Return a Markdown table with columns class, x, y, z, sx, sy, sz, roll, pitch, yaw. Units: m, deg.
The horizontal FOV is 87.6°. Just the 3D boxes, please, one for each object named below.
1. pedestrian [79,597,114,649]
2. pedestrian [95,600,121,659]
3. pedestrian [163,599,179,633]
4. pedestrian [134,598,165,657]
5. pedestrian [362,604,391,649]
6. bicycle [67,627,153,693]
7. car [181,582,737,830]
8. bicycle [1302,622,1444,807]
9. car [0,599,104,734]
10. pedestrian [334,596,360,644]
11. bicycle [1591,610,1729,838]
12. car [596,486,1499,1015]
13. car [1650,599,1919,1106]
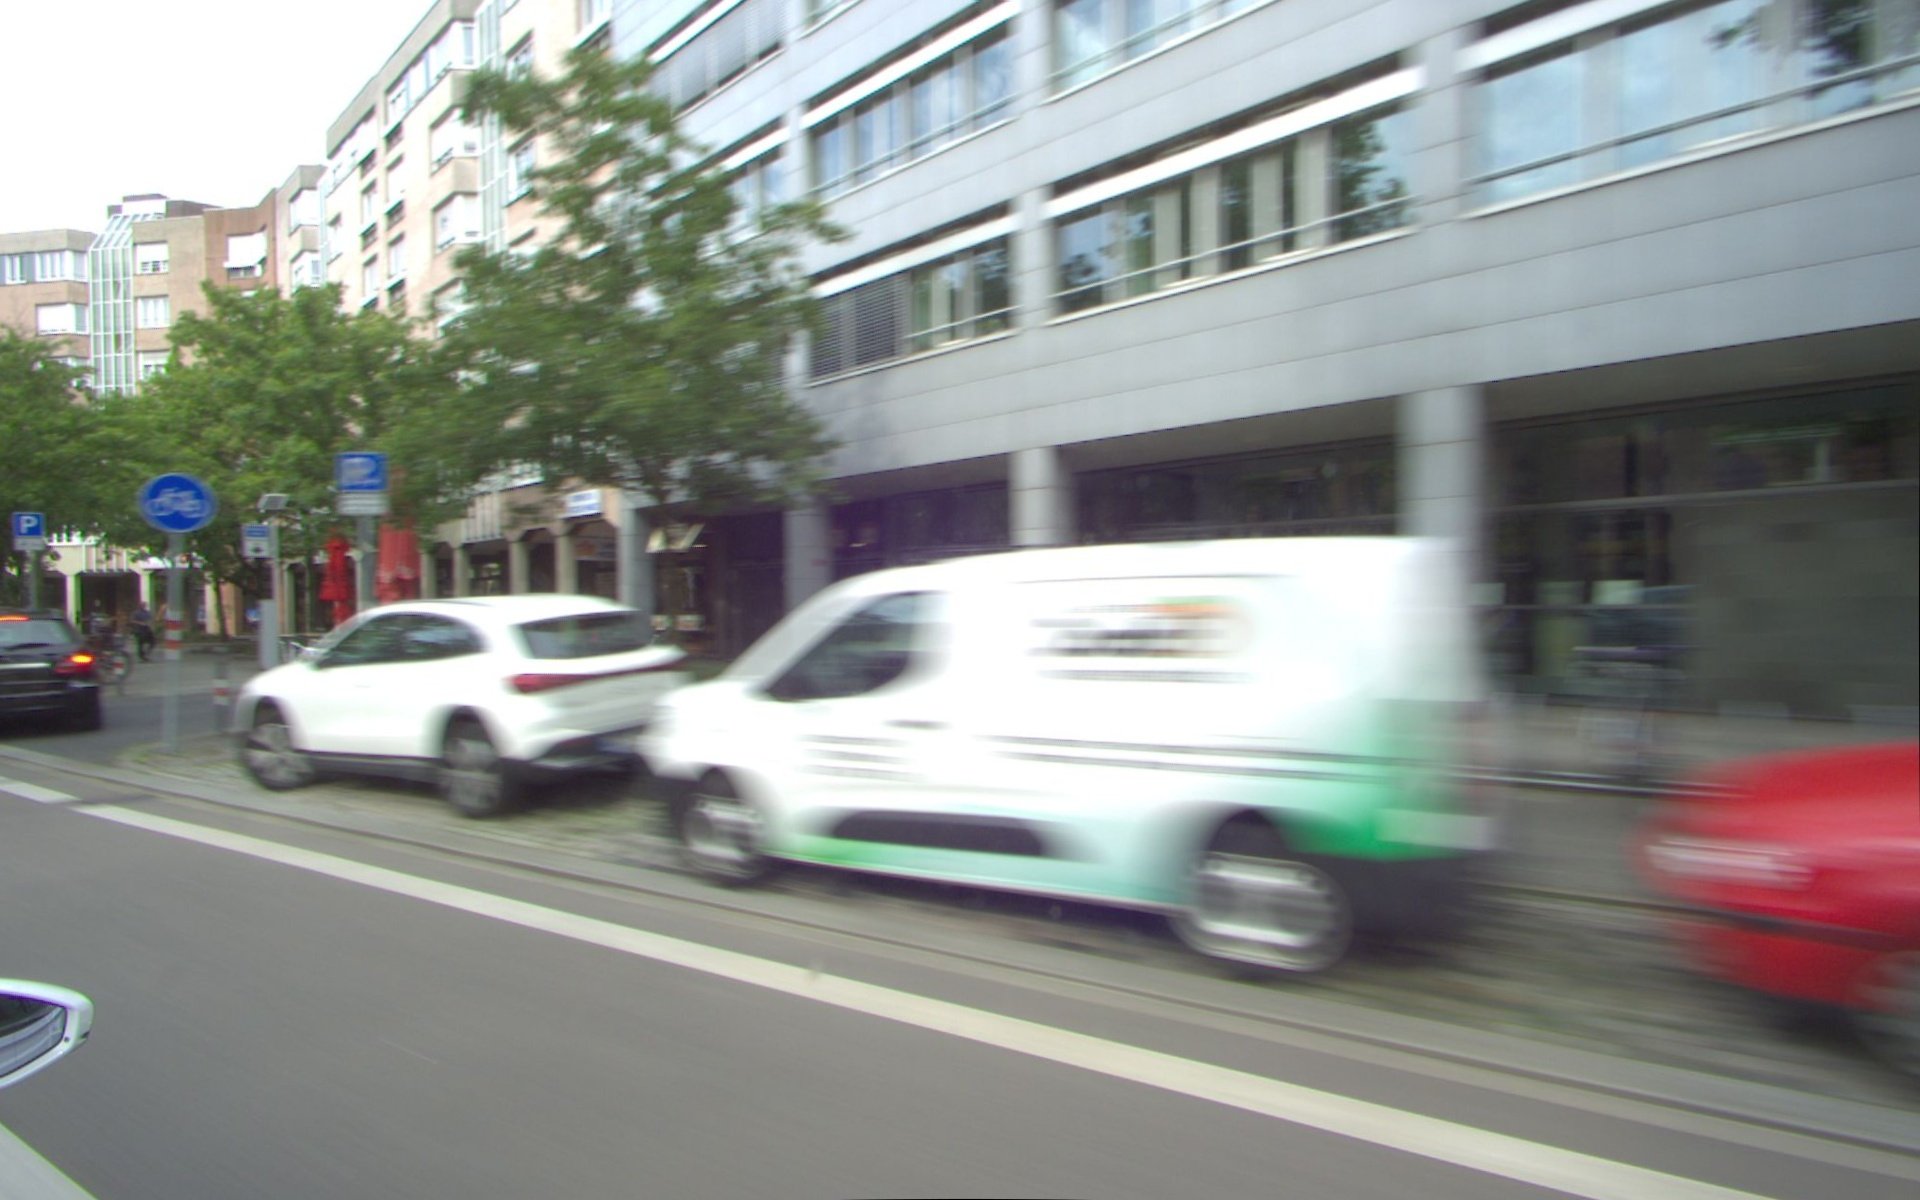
| class | x | y | z | sx | sy | sz | roll | pitch | yaw |
| --- | --- | --- | --- | --- | --- | --- | --- | --- | --- |
| pedestrian | -26.784 | 0.702 | 31.057 | 0.755 | 1.590 | 0.741 | 1 | 1 | 42 |
| pedestrian | -22.032 | 0.760 | 25.902 | 0.497 | 1.499 | 0.409 | 1 | 1 | 39 |
| pedestrian | -39.475 | 0.805 | 50.118 | 0.842 | 1.684 | 0.530 | 0 | 1 | 45 |
| pedestrian | -22.190 | 0.745 | 27.421 | 0.508 | 1.590 | 0.478 | 0 | 1 | -22 |
| pedestrian | -20.886 | 0.922 | 35.856 | 0.705 | 1.576 | 0.791 | -1 | 2 | -45 |
| bicycle | -14.685 | 1.013 | 17.286 | 1.839 | 1.043 | 0.604 | 0 | 1 | 32 |
| car | -4.373 | 0.711 | 8.690 | 4.510 | 1.625 | 1.992 | 0 | 3 | 27 |
| bicycle | 3.213 | 0.799 | 7.688 | 0.474 | 1.213 | 1.900 | 0 | 1 | 39 |
| car | -13.003 | 0.811 | 13.565 | 4.260 | 1.598 | 1.763 | 0 | 2 | 45 |
| pedestrian | -21.600 | 0.706 | 35.266 | 0.674 | 1.684 | 0.602 | 0 | 1 | 42 |
| bicycle | 4.793 | 0.721 | 6.987 | 0.645 | 1.275 | 2.627 | 0 | 0 | 32 |
| car | 0.334 | 0.518 | 5.489 | 4.578 | 1.890 | 1.823 | 0 | 2 | 30 |
| car | 4.518 | 0.759 | 2.822 | 4.197 | 1.452 | 1.716 | 0 | 3 | 36 |
